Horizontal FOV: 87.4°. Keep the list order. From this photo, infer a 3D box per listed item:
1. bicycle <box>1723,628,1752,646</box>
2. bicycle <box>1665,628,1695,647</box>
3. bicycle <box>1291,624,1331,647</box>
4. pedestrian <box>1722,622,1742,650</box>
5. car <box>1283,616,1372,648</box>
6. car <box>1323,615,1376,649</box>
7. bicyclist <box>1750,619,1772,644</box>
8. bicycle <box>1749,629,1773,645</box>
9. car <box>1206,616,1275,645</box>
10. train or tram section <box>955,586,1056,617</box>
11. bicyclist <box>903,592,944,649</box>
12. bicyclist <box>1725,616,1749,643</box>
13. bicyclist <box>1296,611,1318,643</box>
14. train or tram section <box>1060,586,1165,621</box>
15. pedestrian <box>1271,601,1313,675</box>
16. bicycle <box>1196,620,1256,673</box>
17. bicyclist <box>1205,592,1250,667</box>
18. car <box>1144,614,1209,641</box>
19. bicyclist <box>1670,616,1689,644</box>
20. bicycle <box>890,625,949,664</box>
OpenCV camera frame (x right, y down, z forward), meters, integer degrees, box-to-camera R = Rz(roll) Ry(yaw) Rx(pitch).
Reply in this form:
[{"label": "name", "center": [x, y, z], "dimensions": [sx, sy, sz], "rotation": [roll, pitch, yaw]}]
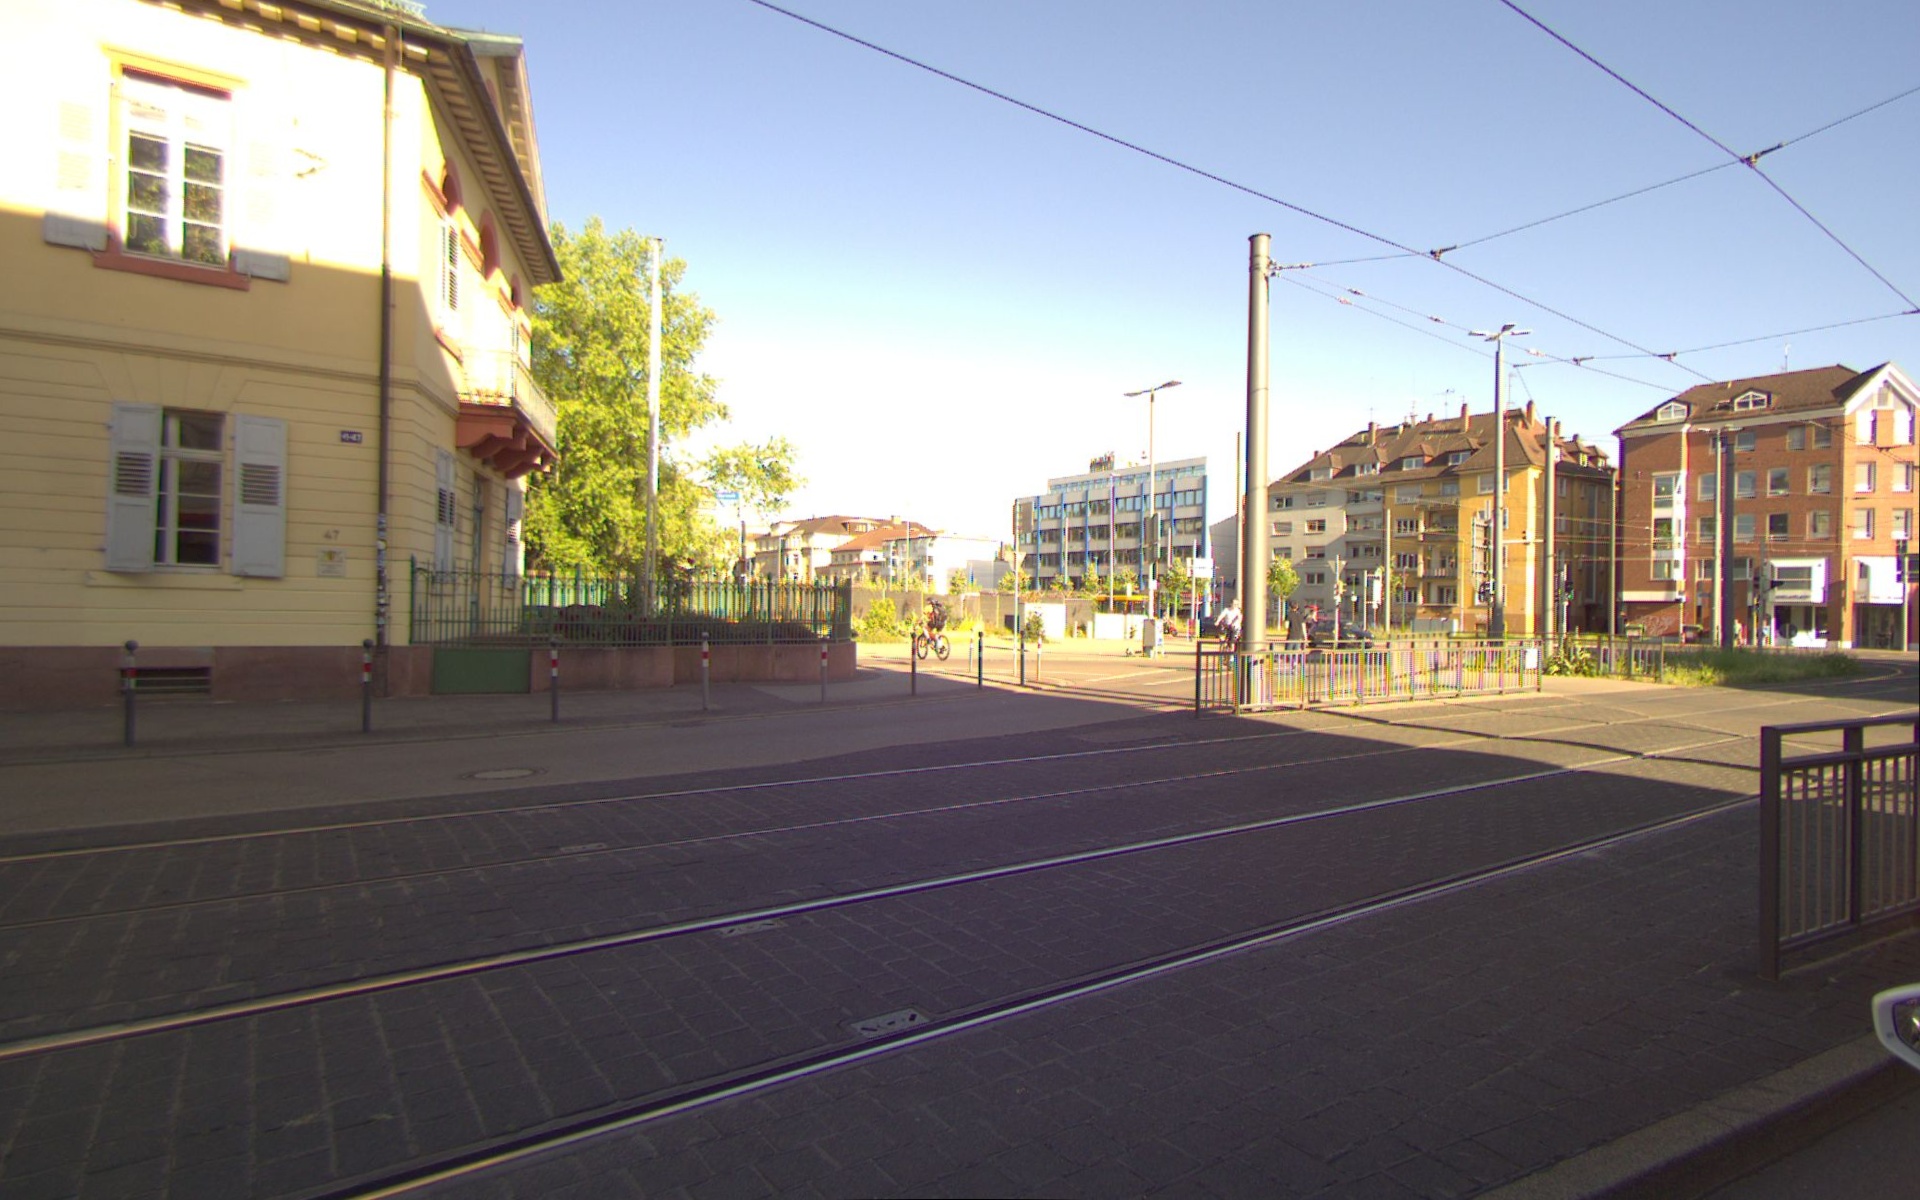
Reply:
[{"label": "bicycle", "center": [45.567, 2.167, 58.856], "dimensions": [2.220, 0.984, 0.521], "rotation": [2, 0, -31]}, {"label": "bicycle", "center": [39.716, 2.062, 55.405], "dimensions": [2.220, 0.984, 0.444], "rotation": [2, 0, -31]}, {"label": "bicycle", "center": [20.238, 2.041, 57.970], "dimensions": [0.542, 1.230, 2.168], "rotation": [2, 0, -41]}, {"label": "pedestrian", "center": [51.170, 2.386, 66.571], "dimensions": [0.737, 1.845, 0.781], "rotation": [2, 0, -28]}, {"label": "car", "center": [21.874, 1.883, 59.900], "dimensions": [1.984, 1.723, 4.545], "rotation": [2, 0, -41]}, {"label": "car", "center": [19.619, 1.589, 50.742], "dimensions": [1.612, 1.546, 3.868], "rotation": [2, 0, 8]}, {"label": "bicyclist", "center": [50.341, 1.969, 63.134], "dimensions": [0.958, 1.490, 0.702], "rotation": [2, 0, -22]}, {"label": "bicycle", "center": [50.317, 2.336, 63.112], "dimensions": [1.669, 0.994, 0.403], "rotation": [2, 0, -22]}, {"label": "car", "center": [18.007, 1.939, 64.582], "dimensions": [1.762, 1.694, 3.955], "rotation": [2, 0, -39]}, {"label": "train or tram section", "center": [4.793, 0.088, 111.106], "dimensions": [2.711, 3.172, 13.559], "rotation": [2, 0, -39]}, {"label": "bicyclist", "center": [-1.008, 0.576, 27.974], "dimensions": [1.023, 1.542, 0.392], "rotation": [2, 0, 17]}, {"label": "bicyclist", "center": [45.534, 1.731, 58.859], "dimensions": [0.688, 1.523, 0.894], "rotation": [2, 0, -30]}, {"label": "bicyclist", "center": [20.080, 1.551, 58.133], "dimensions": [0.785, 1.832, 0.892], "rotation": [2, 0, -42]}, {"label": "train or tram section", "center": [14.785, 0.327, 98.684], "dimensions": [2.782, 3.172, 11.136], "rotation": [2, 0, -40]}, {"label": "pedestrian", "center": [7.771, 0.879, 23.513], "dimensions": [0.759, 1.703, 0.593], "rotation": [2, 0, 3]}, {"label": "bicycle", "center": [6.560, 1.139, 24.704], "dimensions": [1.841, 1.238, 0.479], "rotation": [2, 0, -43]}, {"label": "bicyclist", "center": [6.587, 0.719, 24.738], "dimensions": [0.747, 1.783, 0.749], "rotation": [2, 0, -43]}, {"label": "car", "center": [14.748, 1.868, 68.573], "dimensions": [1.895, 1.708, 3.916], "rotation": [2, 0, -41]}, {"label": "bicyclist", "center": [39.660, 1.644, 55.360], "dimensions": [0.688, 1.523, 0.630], "rotation": [2, 0, -30]}, {"label": "bicycle", "center": [-1.139, 1.227, 28.018], "dimensions": [1.570, 1.007, 0.404], "rotation": [2, 0, 18]}]
